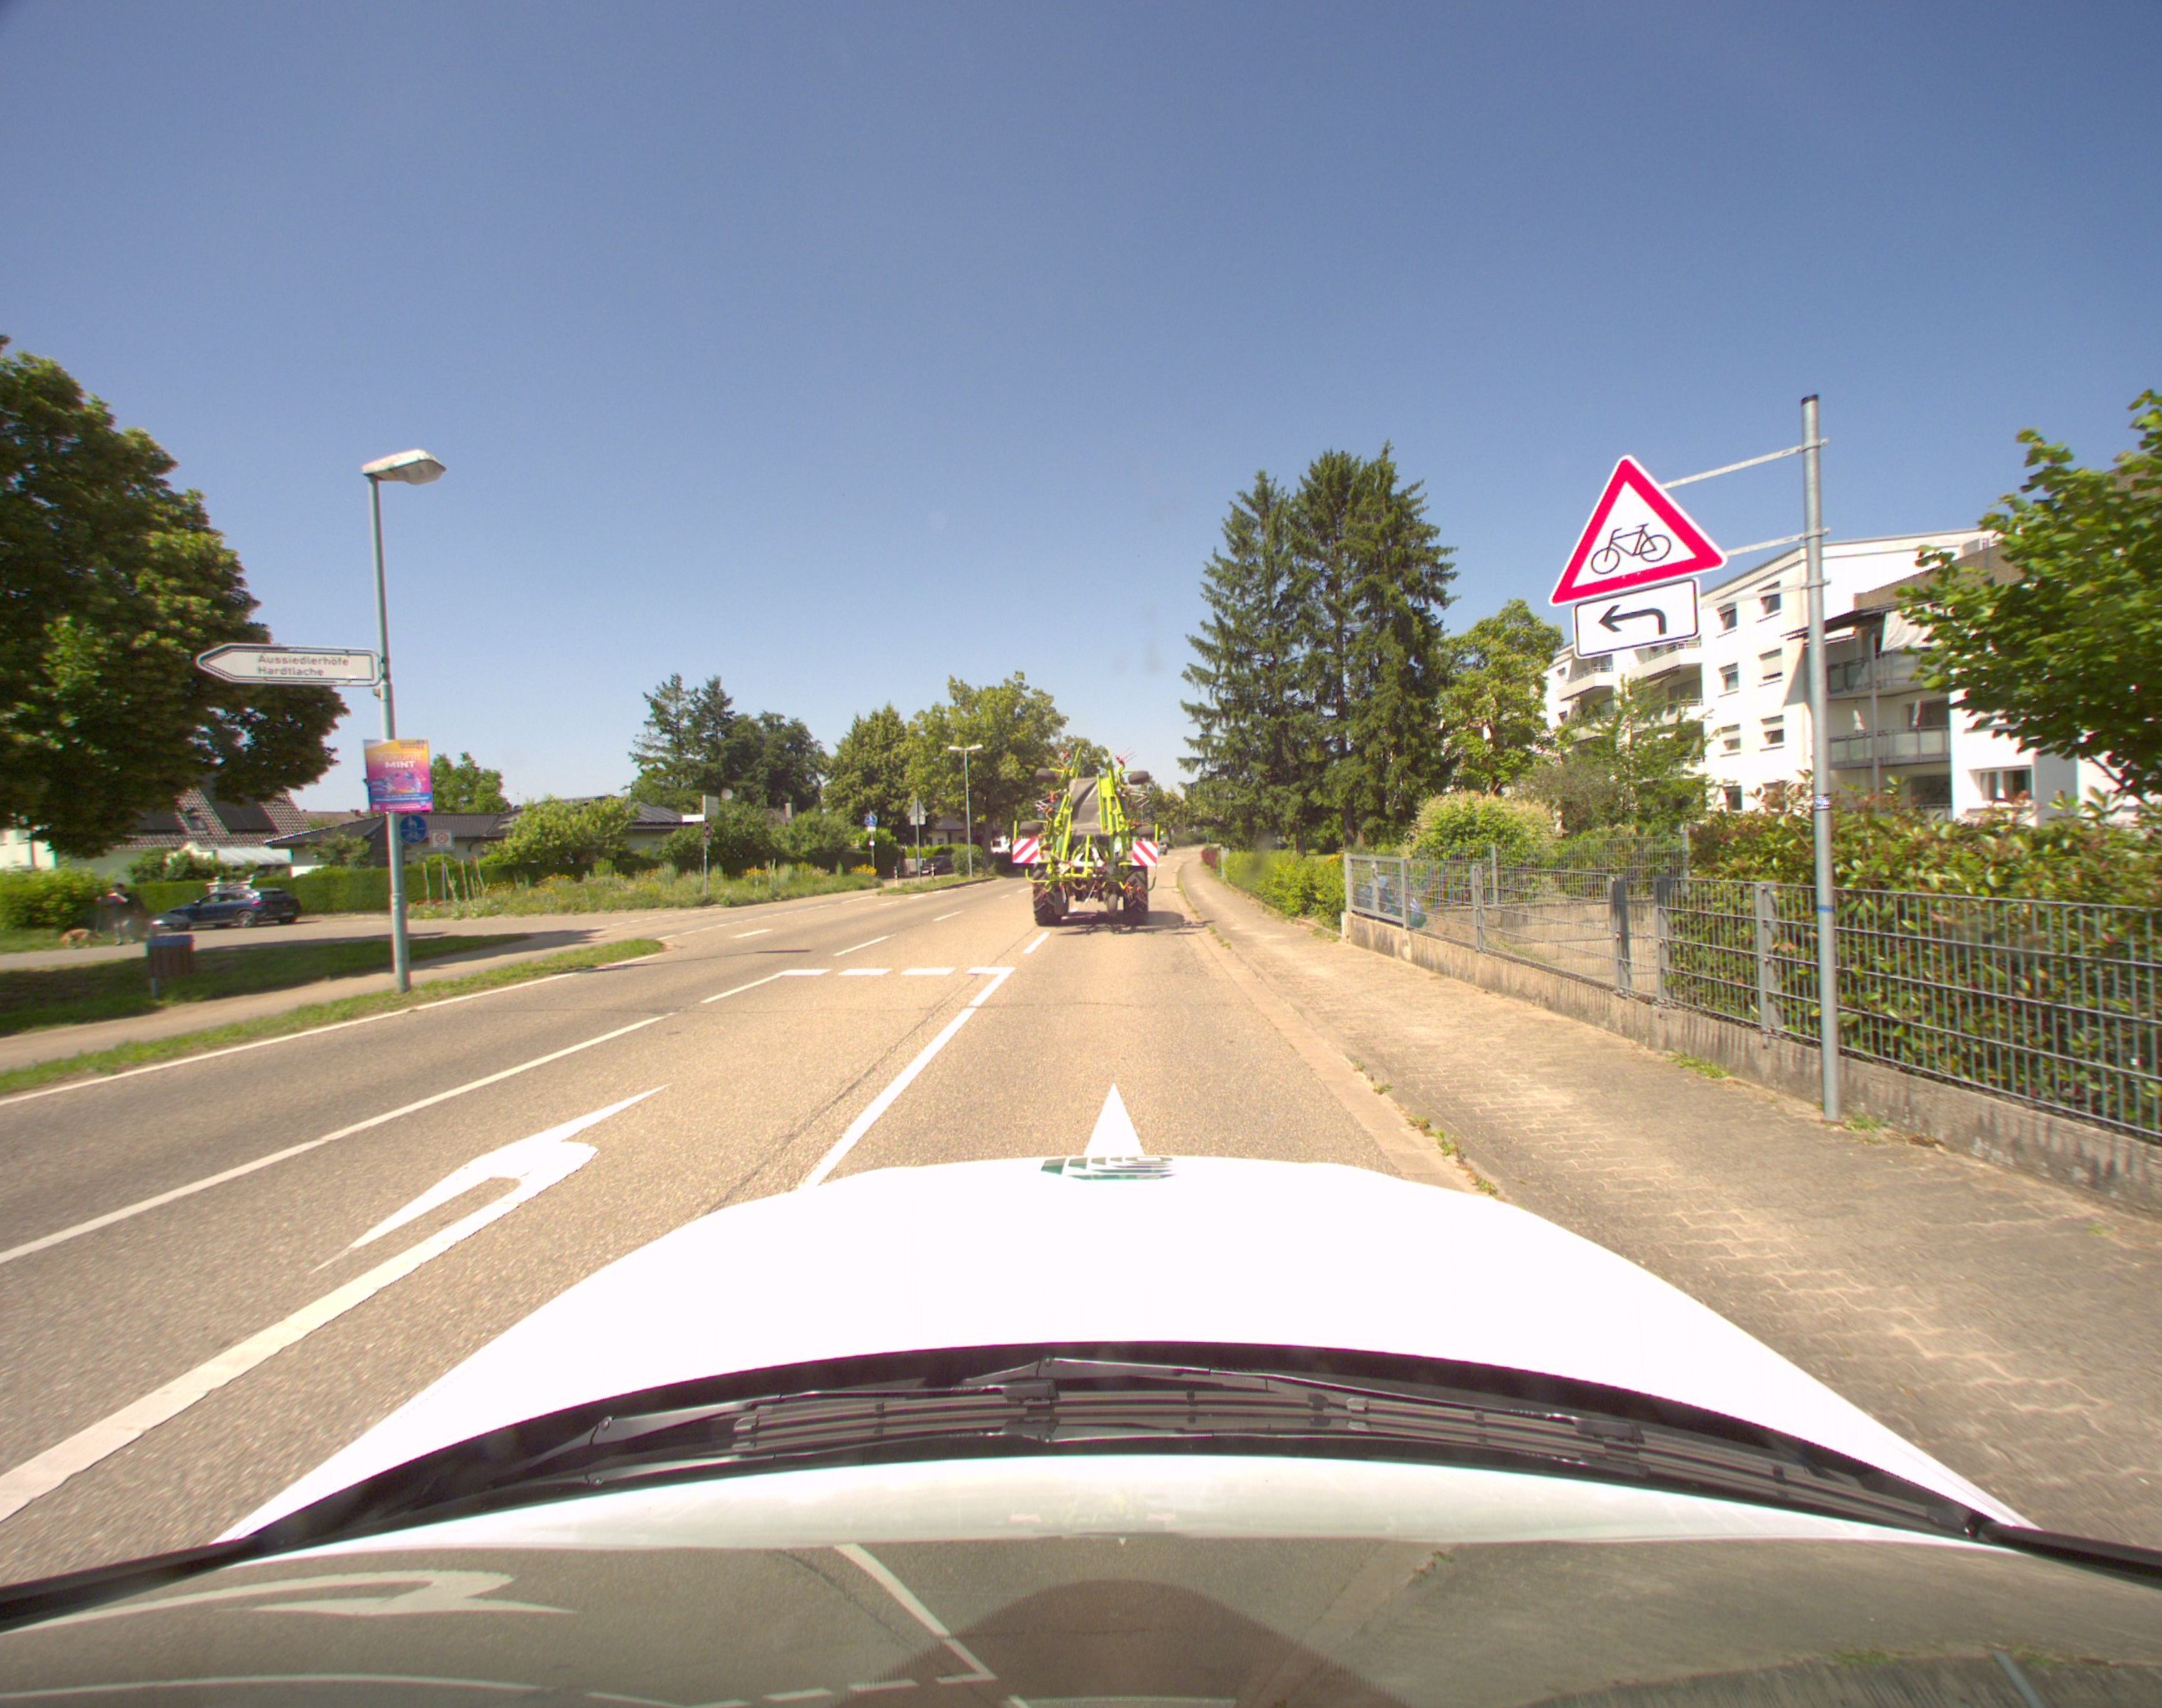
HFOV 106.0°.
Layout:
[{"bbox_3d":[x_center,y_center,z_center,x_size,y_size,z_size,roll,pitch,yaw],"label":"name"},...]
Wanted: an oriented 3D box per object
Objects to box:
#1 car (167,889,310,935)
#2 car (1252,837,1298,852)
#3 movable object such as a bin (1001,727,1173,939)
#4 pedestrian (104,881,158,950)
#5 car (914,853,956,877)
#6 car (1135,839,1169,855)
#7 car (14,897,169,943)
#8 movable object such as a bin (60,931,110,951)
[{"bbox_3d":[-35.342,2.421,34.236,3.972,1.518,1.882,-3,2,1],"label":"car"},{"bbox_3d":[18.150,-0.912,76.257,3.809,1.294,1.679,-2,1,-9],"label":"car"},{"bbox_3d":[0.387,-0.383,18.834,2.841,3.541,9.710,-2,0,3],"label":"movable object such as a bin"},{"bbox_3d":[-24.783,1.586,21.250,0.547,1.716,0.676,-2,0,0],"label":"pedestrian"},{"bbox_3d":[-10.420,0.773,58.377,1.678,1.530,4.011,-2,0,10],"label":"car"},{"bbox_3d":[7.913,-0.780,90.252,1.839,1.715,4.026,-2,0,37],"label":"car"},{"bbox_3d":[-41.537,2.746,34.262,3.974,1.519,2.000,-3,0,0],"label":"car"},{"bbox_3d":[-24.906,2.178,20.366,0.316,0.410,0.769,-2,0,41],"label":"movable object such as a bin"}]
